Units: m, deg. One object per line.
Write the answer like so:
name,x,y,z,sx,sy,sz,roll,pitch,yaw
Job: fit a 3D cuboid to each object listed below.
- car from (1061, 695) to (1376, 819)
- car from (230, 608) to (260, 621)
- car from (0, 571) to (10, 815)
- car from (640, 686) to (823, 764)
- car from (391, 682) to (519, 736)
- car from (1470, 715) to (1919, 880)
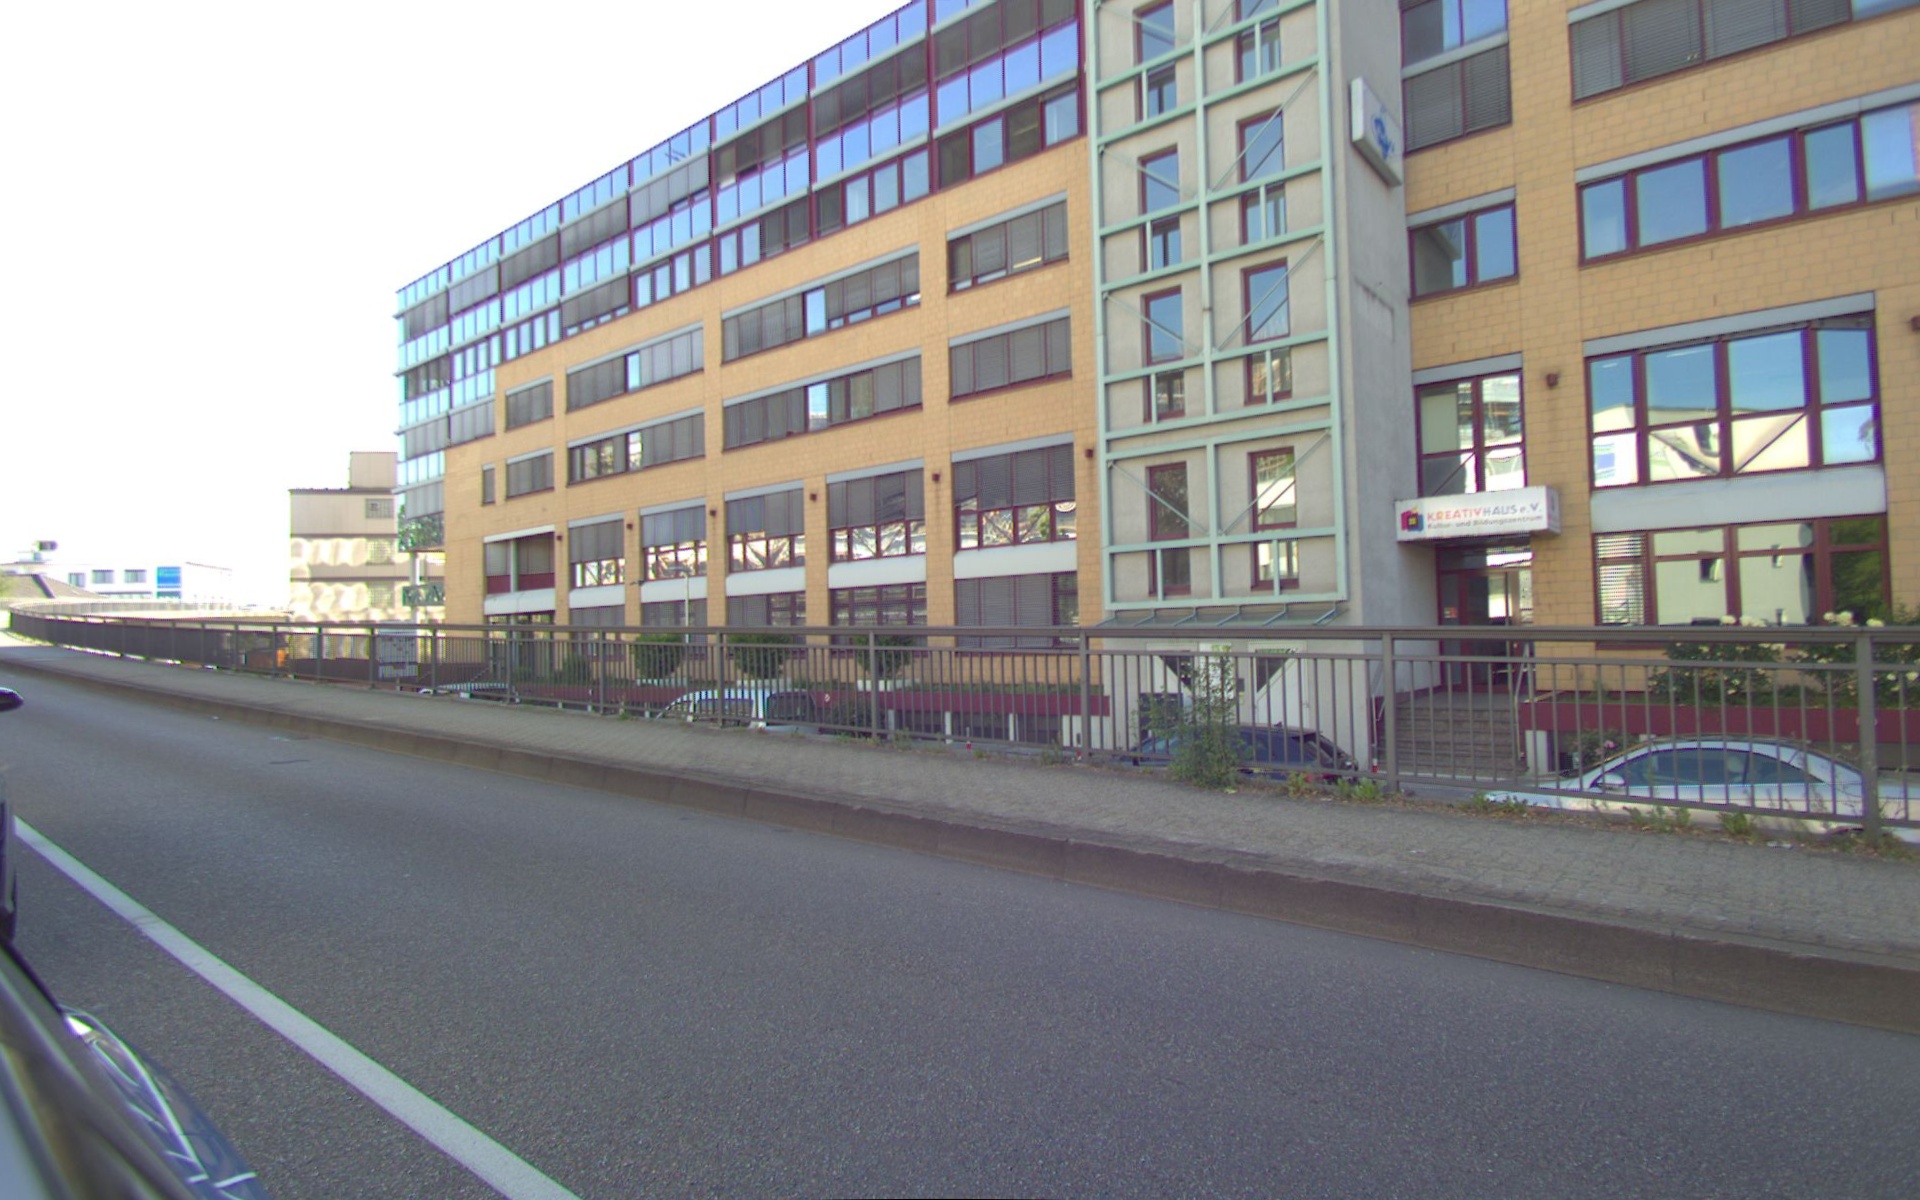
car,3.374,1.992,13.595,3.805,1.279,1.560,-3,-4,40
car,-90.564,1.896,128.219,1.920,1.475,4.012,5,-3,-17
car,-5.846,0.756,4.661,3.998,1.660,1.726,-3,-4,41
car,-4.596,2.420,20.128,3.805,1.279,1.560,-3,-4,40
car,-13.822,2.921,27.627,3.805,1.279,1.744,-3,-4,40
car,7.683,1.881,10.207,4.254,1.175,1.704,-3,-4,40
